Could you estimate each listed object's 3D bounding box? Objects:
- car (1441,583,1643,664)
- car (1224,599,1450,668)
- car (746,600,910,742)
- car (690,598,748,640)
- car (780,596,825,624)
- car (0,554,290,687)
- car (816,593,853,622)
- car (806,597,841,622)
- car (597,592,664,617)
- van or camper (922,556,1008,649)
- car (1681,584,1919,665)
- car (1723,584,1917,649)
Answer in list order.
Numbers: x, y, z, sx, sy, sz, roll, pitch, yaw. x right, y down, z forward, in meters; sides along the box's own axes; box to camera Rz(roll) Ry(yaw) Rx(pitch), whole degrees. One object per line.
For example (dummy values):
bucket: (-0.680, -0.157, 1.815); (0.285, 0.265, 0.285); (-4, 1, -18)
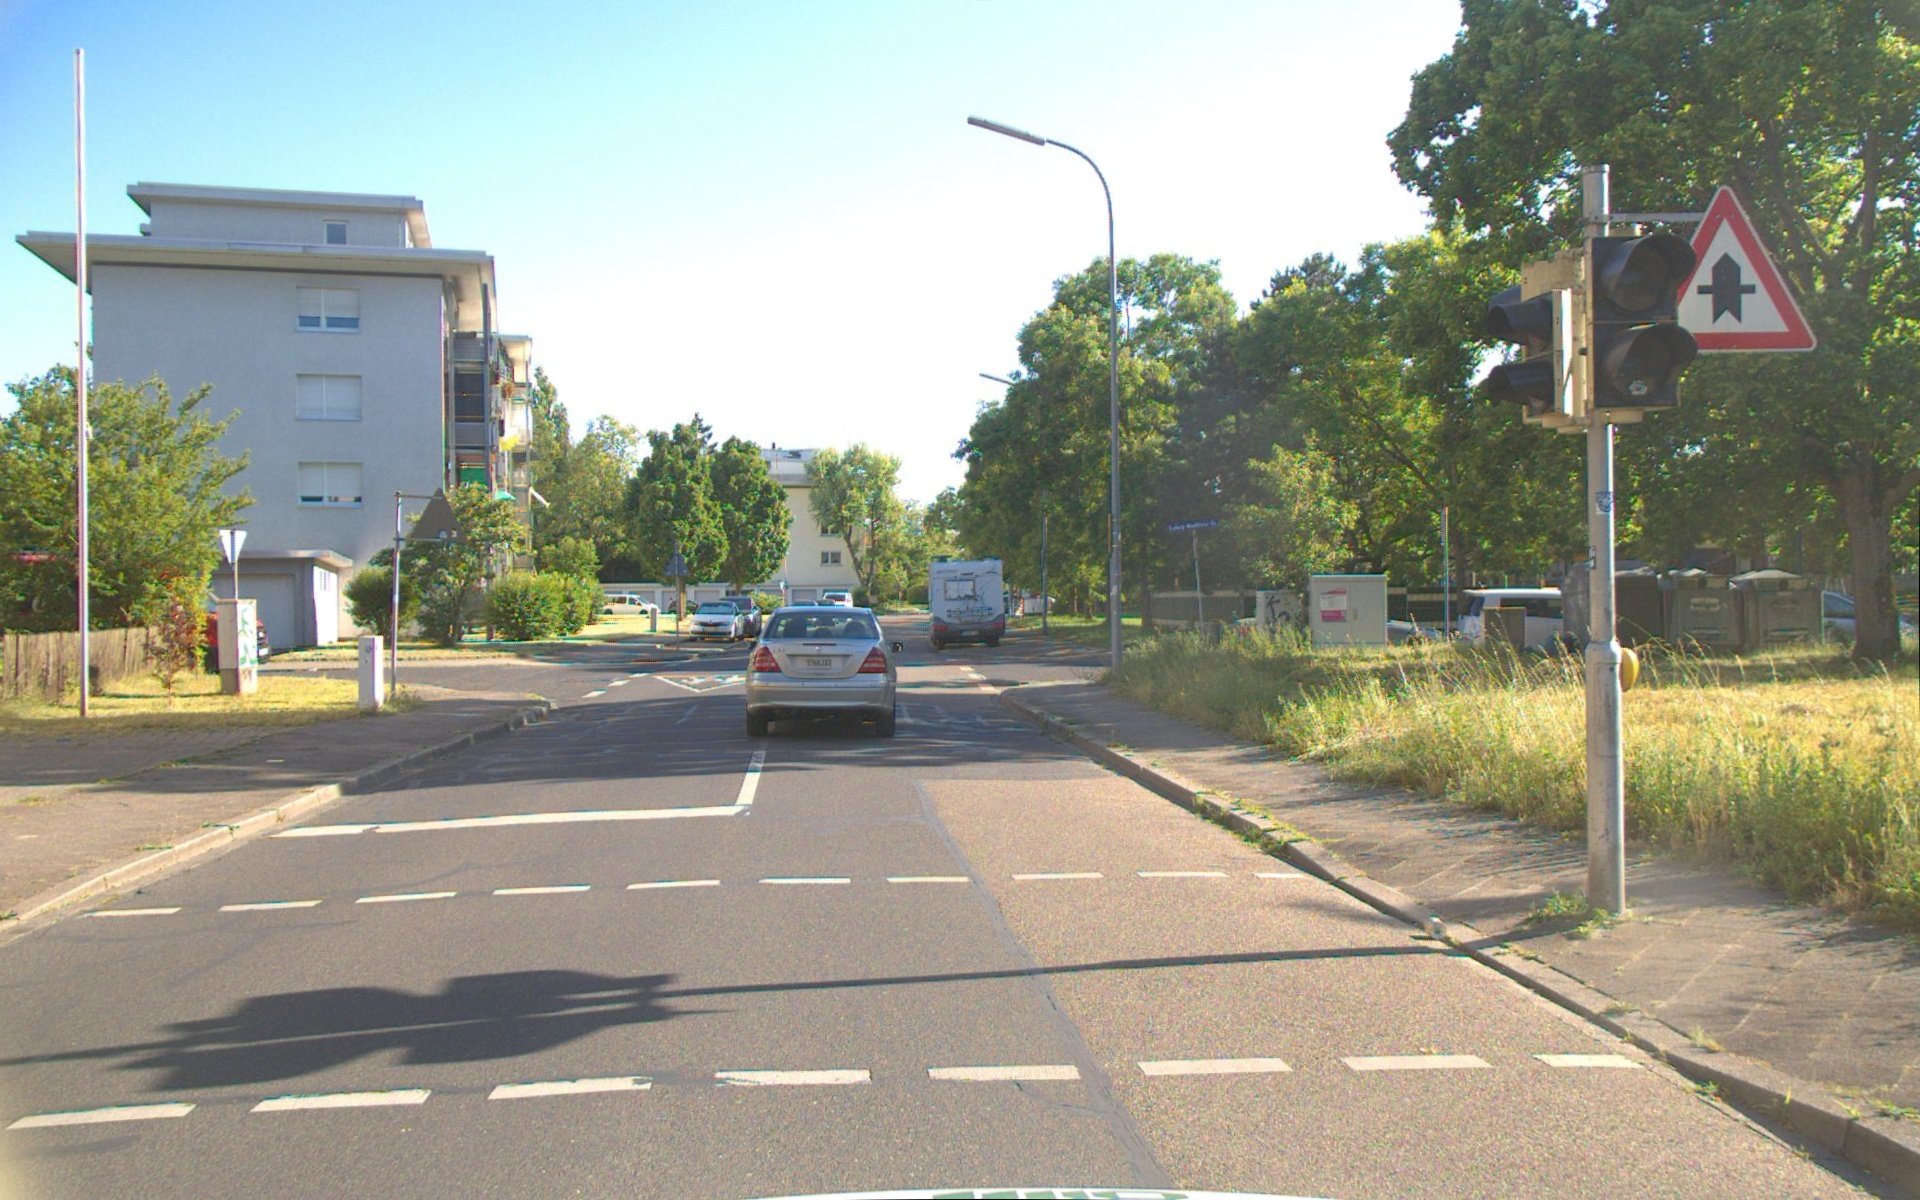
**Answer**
car: (12.117, 0.476, 34.610); (3.607, 1.605, 1.829); (-1, 0, 3)
car: (7.806, 0.676, 34.538); (4.334, 1.360, 1.746); (0, 2, 0)
car: (-1.555, 0.743, 19.114); (1.700, 1.459, 3.434); (-1, 0, -6)
car: (-8.854, 0.671, 61.033); (1.613, 1.492, 4.329); (0, 0, -1)
car: (-9.137, 0.583, 96.354); (1.993, 1.519, 5.257); (2, 0, 1)
car: (-16.983, 0.383, 33.568); (5.789, 2.471, 2.211); (-2, 1, -5)
car: (-8.737, 0.517, 115.673); (1.972, 1.918, 5.192); (1, 0, 2)
car: (-8.983, 0.621, 109.179); (1.795, 1.544, 4.222); (1, 0, 2)
car: (-27.520, 0.346, 138.268); (4.996, 1.985, 2.239); (-1, 0, 9)
van or camper: (0.085, 0.062, 52.738); (2.305, 2.641, 6.423); (-4, 0, -2)
car: (17.335, 0.482, 34.205); (4.017, 1.568, 1.974); (-1, 1, 2)
car: (20.704, 0.381, 39.911); (3.787, 1.421, 1.787); (-1, 2, -1)
